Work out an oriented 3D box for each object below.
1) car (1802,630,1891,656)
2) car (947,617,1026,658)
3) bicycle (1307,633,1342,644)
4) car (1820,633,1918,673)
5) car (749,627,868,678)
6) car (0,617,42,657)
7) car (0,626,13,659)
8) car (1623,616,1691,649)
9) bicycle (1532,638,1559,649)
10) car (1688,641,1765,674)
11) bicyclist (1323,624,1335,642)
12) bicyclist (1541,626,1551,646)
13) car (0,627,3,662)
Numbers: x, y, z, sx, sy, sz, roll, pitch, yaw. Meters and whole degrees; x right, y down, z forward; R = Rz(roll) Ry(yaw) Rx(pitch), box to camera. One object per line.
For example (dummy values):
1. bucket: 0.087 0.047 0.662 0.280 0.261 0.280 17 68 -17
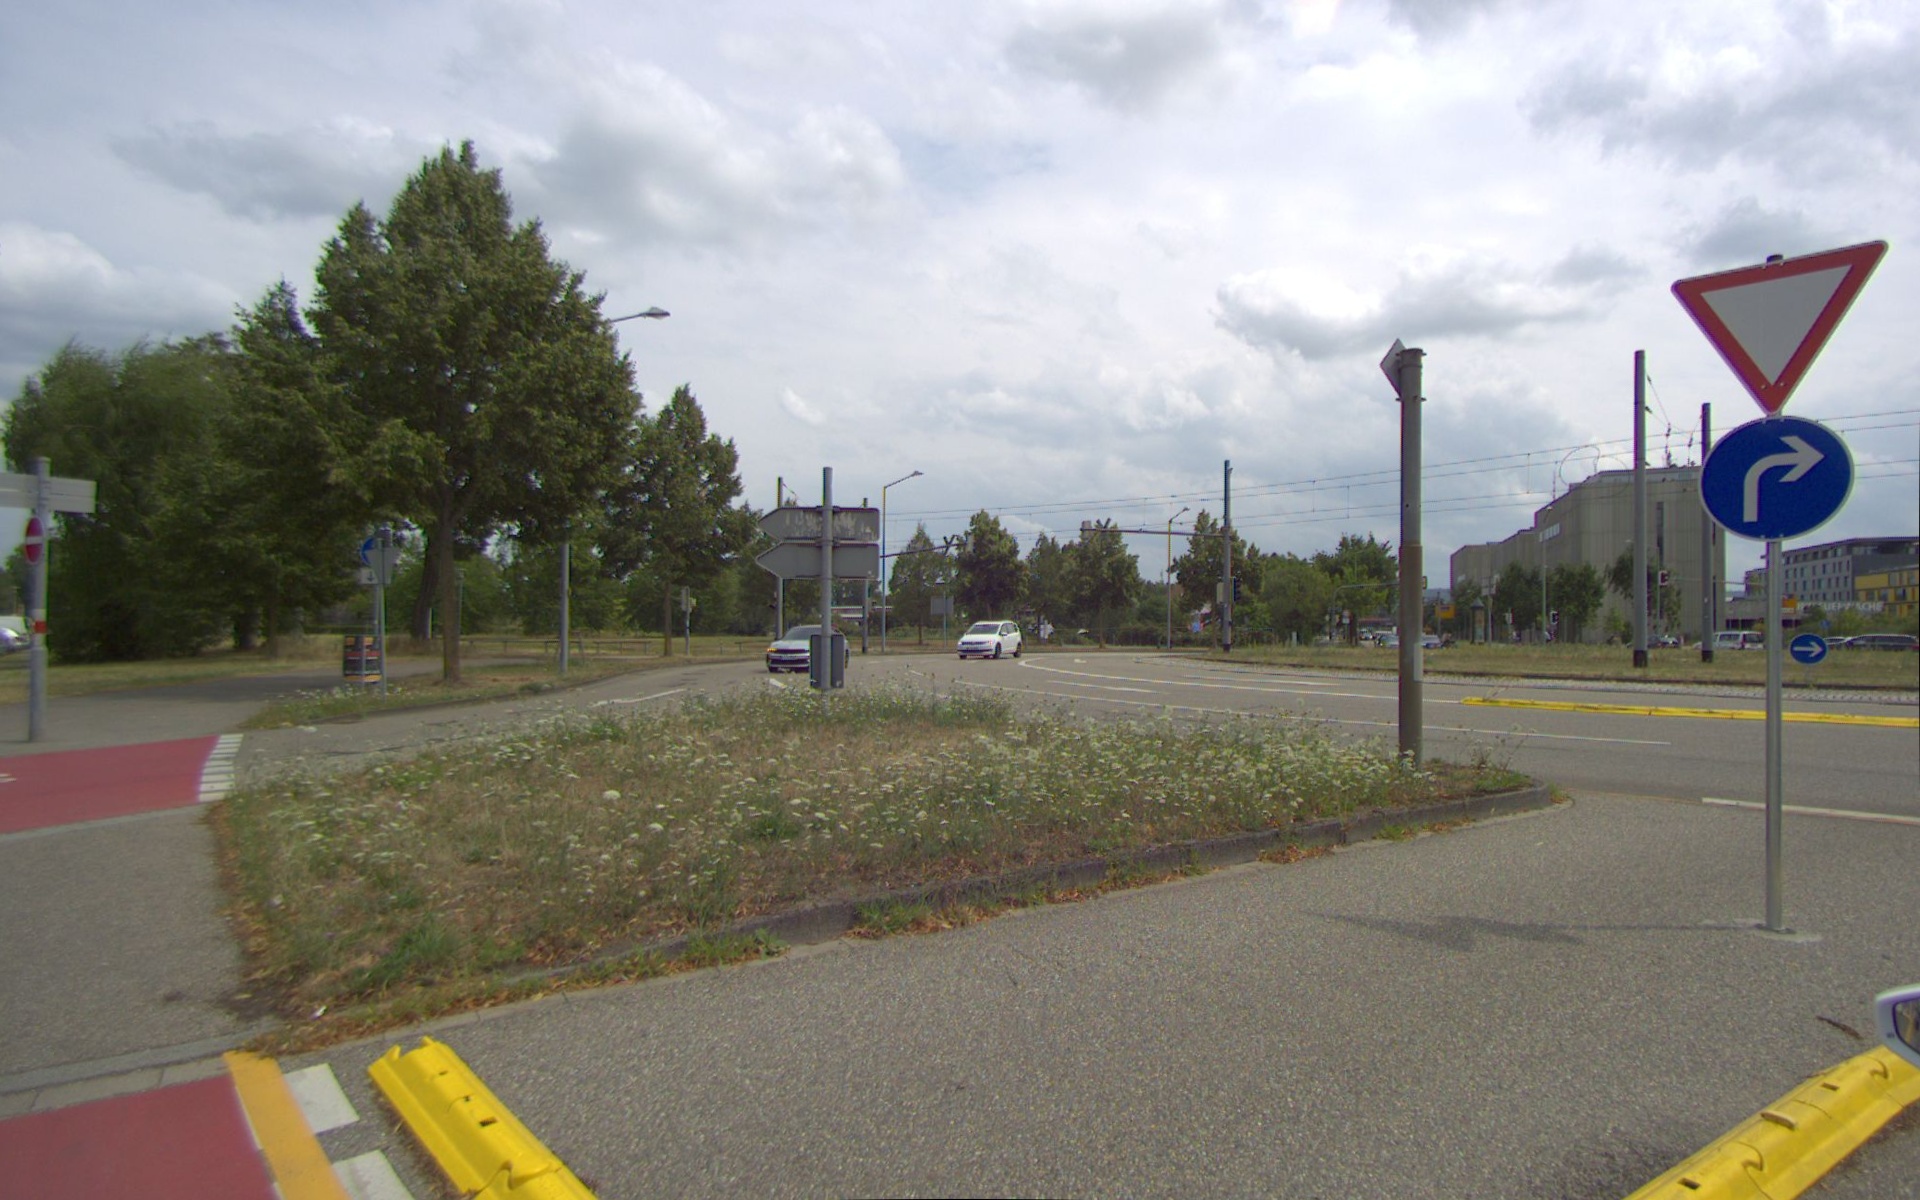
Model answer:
1. car: 55.869 2.676 63.408 1.800 1.483 3.994 2 -1 -9
2. car: 1.237 1.647 44.565 1.902 1.687 4.352 -2 -2 25
3. bicycle: 29.914 3.171 82.427 2.605 0.866 0.864 0 -1 3
4. car: 50.385 2.918 55.704 1.987 2.040 3.947 3 -2 -45
5. car: -4.784 1.650 32.610 1.960 1.502 5.187 0 -2 14
6. car: -50.853 1.885 51.473 5.529 2.083 2.174 2 -2 -42
7. car: -46.043 1.919 45.592 4.277 1.491 1.812 2 -2 -40
8. car: 46.847 2.184 67.654 1.960 2.040 4.002 2 -1 4
9. bicycle: 46.832 3.482 80.318 1.807 0.889 0.528 -1 -2 40
10. car: 51.220 3.815 67.228 1.960 2.040 4.364 2 -1 4
11. bicyclist: 30.267 2.685 82.442 0.661 1.428 0.864 0 -1 3
12. bicyclist: 46.854 2.892 80.332 0.641 1.579 0.528 -1 -2 39
13. car: -42.761 1.869 41.624 4.352 1.491 1.812 2 -2 -40
